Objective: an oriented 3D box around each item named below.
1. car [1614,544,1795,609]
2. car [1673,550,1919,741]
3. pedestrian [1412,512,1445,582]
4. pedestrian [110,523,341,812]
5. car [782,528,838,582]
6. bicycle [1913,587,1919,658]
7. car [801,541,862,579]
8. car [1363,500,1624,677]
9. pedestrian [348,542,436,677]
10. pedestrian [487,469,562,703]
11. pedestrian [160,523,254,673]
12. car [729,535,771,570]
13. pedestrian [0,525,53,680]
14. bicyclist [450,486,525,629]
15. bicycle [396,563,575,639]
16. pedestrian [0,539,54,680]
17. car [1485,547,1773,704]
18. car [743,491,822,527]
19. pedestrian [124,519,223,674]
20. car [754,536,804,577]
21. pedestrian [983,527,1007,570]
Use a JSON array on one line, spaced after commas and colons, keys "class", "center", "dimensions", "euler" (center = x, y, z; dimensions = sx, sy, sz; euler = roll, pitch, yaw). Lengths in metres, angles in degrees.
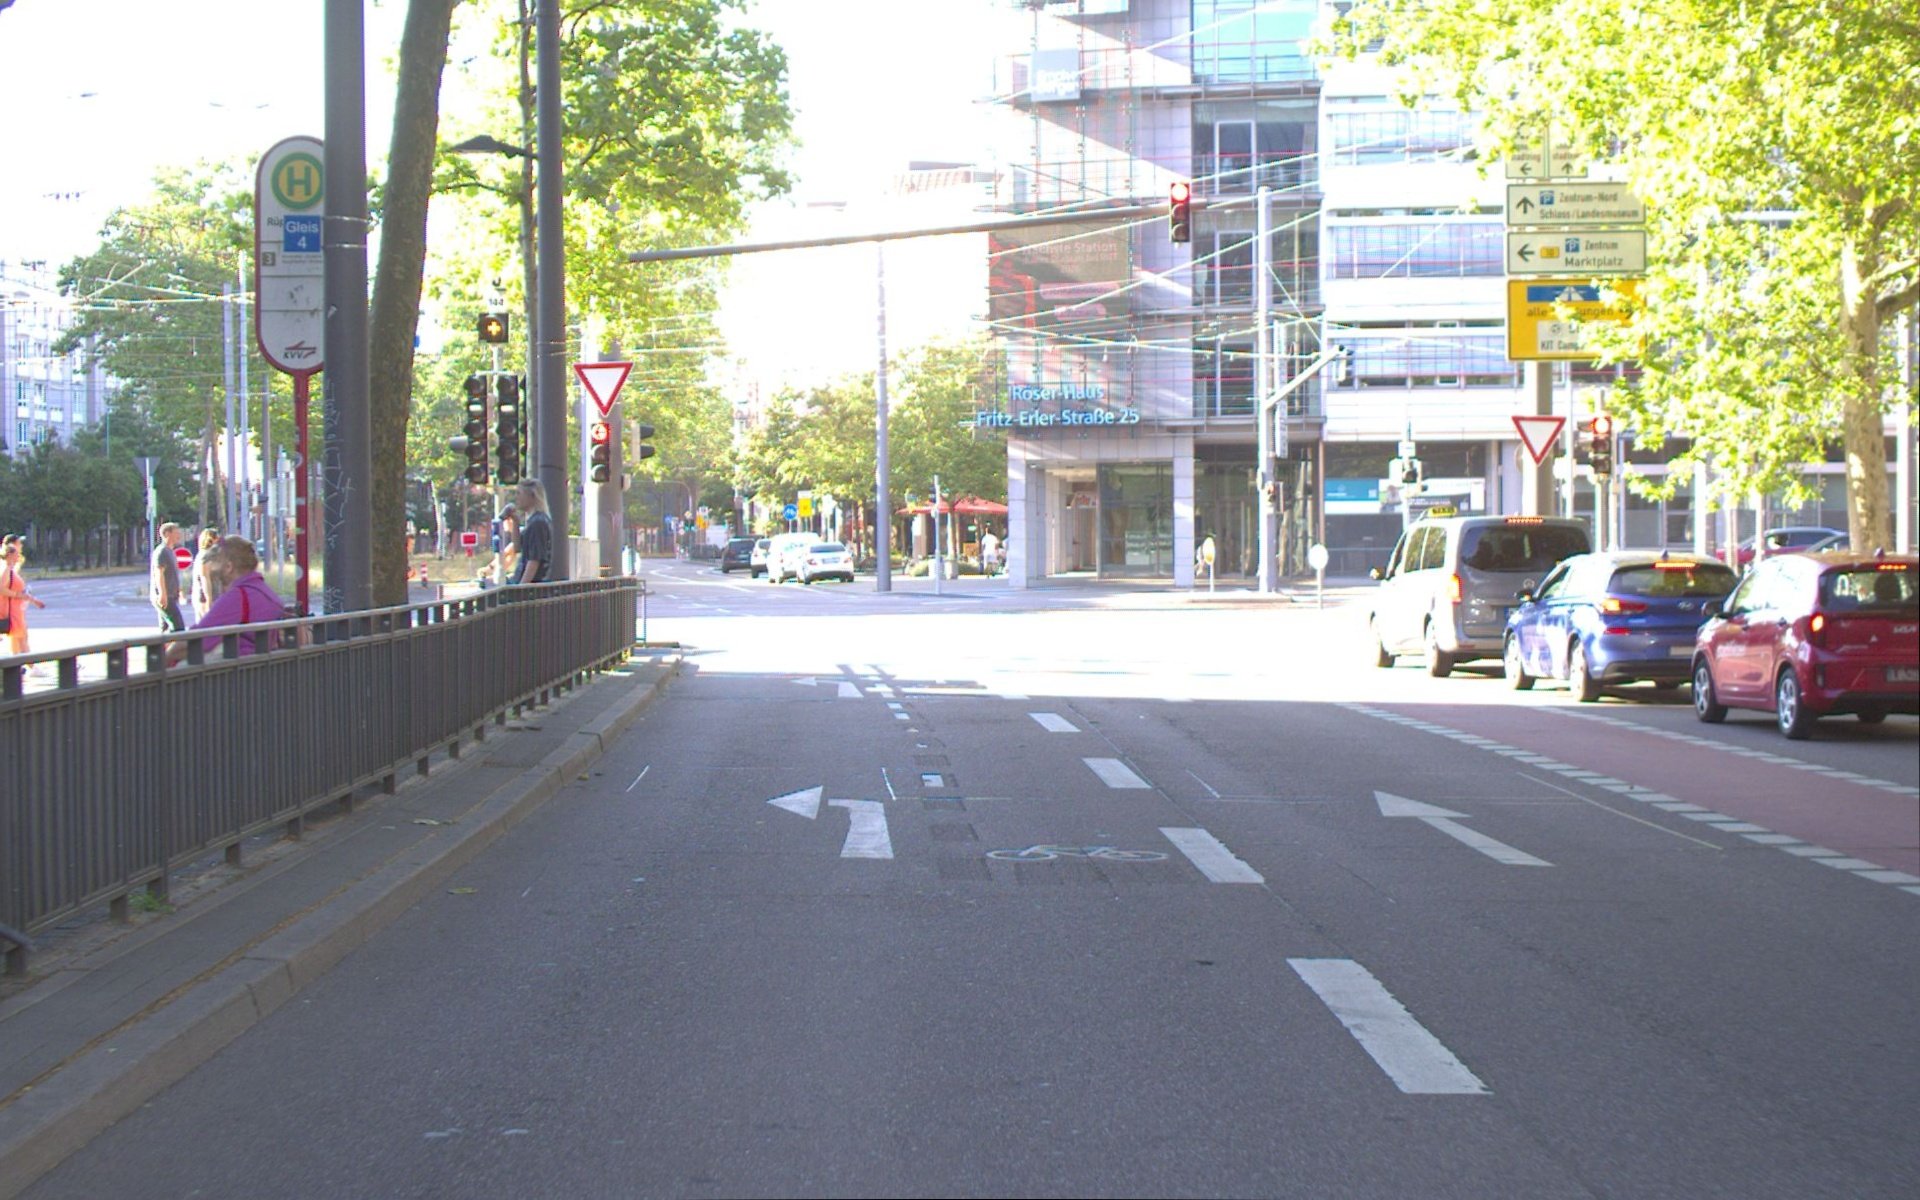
[{"class": "car", "center": [18.973, -0.614, 87.720], "dimensions": [4.241, 1.596, 1.795], "euler": [-1, 1, 3]}, {"class": "car", "center": [7.161, 0.326, 28.357], "dimensions": [1.558, 1.459, 3.622], "euler": [1, 1, -4]}, {"class": "pedestrian", "center": [11.261, -1.270, 82.595], "dimensions": [0.720, 1.676, 0.557], "euler": [1, 1, 4]}, {"class": "pedestrian", "center": [-3.662, 0.328, 17.184], "dimensions": [0.977, 1.395, 0.664], "euler": [1, 0, 1]}, {"class": "car", "center": [-5.639, -1.697, 128.895], "dimensions": [1.993, 1.985, 4.001], "euler": [-1, 1, -4]}, {"class": "bicycle", "center": [13.387, 0.316, 46.575], "dimensions": [0.420, 0.975, 1.477], "euler": [-1, 1, -5]}, {"class": "car", "center": [-4.579, -1.426, 122.045], "dimensions": [1.993, 1.327, 4.001], "euler": [-1, 1, -4]}, {"class": "car", "center": [6.327, -0.172, 41.395], "dimensions": [1.993, 1.959, 5.138], "euler": [1, 1, -4]}, {"class": "pedestrian", "center": [-7.289, 0.120, 44.146], "dimensions": [1.073, 1.709, 0.628], "euler": [1, 0, -7]}, {"class": "pedestrian", "center": [-3.574, -0.116, 28.239], "dimensions": [0.509, 1.894, 0.760], "euler": [1, 0, -3]}, {"class": "pedestrian", "center": [-9.128, -0.026, 41.701], "dimensions": [1.071, 1.800, 0.758], "euler": [1, 0, -11]}, {"class": "car", "center": [-10.139, -2.282, 165.621], "dimensions": [1.993, 1.656, 4.001], "euler": [-1, 1, -4]}, {"class": "pedestrian", "center": [-11.686, 0.025, 42.032], "dimensions": [1.073, 1.865, 0.739], "euler": [1, 0, -11]}, {"class": "bicyclist", "center": [-5.940, -0.535, 43.232], "dimensions": [0.849, 1.779, 0.753], "euler": [-1, 1, -3]}, {"class": "bicycle", "center": [-5.956, 0.009, 43.239], "dimensions": [2.177, 0.930, 0.668], "euler": [0, 1, -3]}, {"class": "pedestrian", "center": [-11.472, 0.113, 41.306], "dimensions": [1.072, 1.676, 0.758], "euler": [1, 0, -11]}, {"class": "car", "center": [6.684, 0.210, 34.794], "dimensions": [1.764, 1.459, 4.218], "euler": [-1, 1, -5]}, {"class": "car", "center": [-9.229, -4.747, 179.248], "dimensions": [3.763, 1.744, 1.781], "euler": [1, 0, 11]}, {"class": "pedestrian", "center": [-9.721, -0.043, 42.518], "dimensions": [1.145, 1.887, 0.833], "euler": [1, 0, -11]}, {"class": "car", "center": [-7.601, -1.837, 144.134], "dimensions": [1.993, 1.656, 4.001], "euler": [-1, 1, -4]}, {"class": "pedestrian", "center": [1.202, -1.761, 117.794], "dimensions": [0.739, 1.460, 0.537], "euler": [-1, 1, -5]}]
